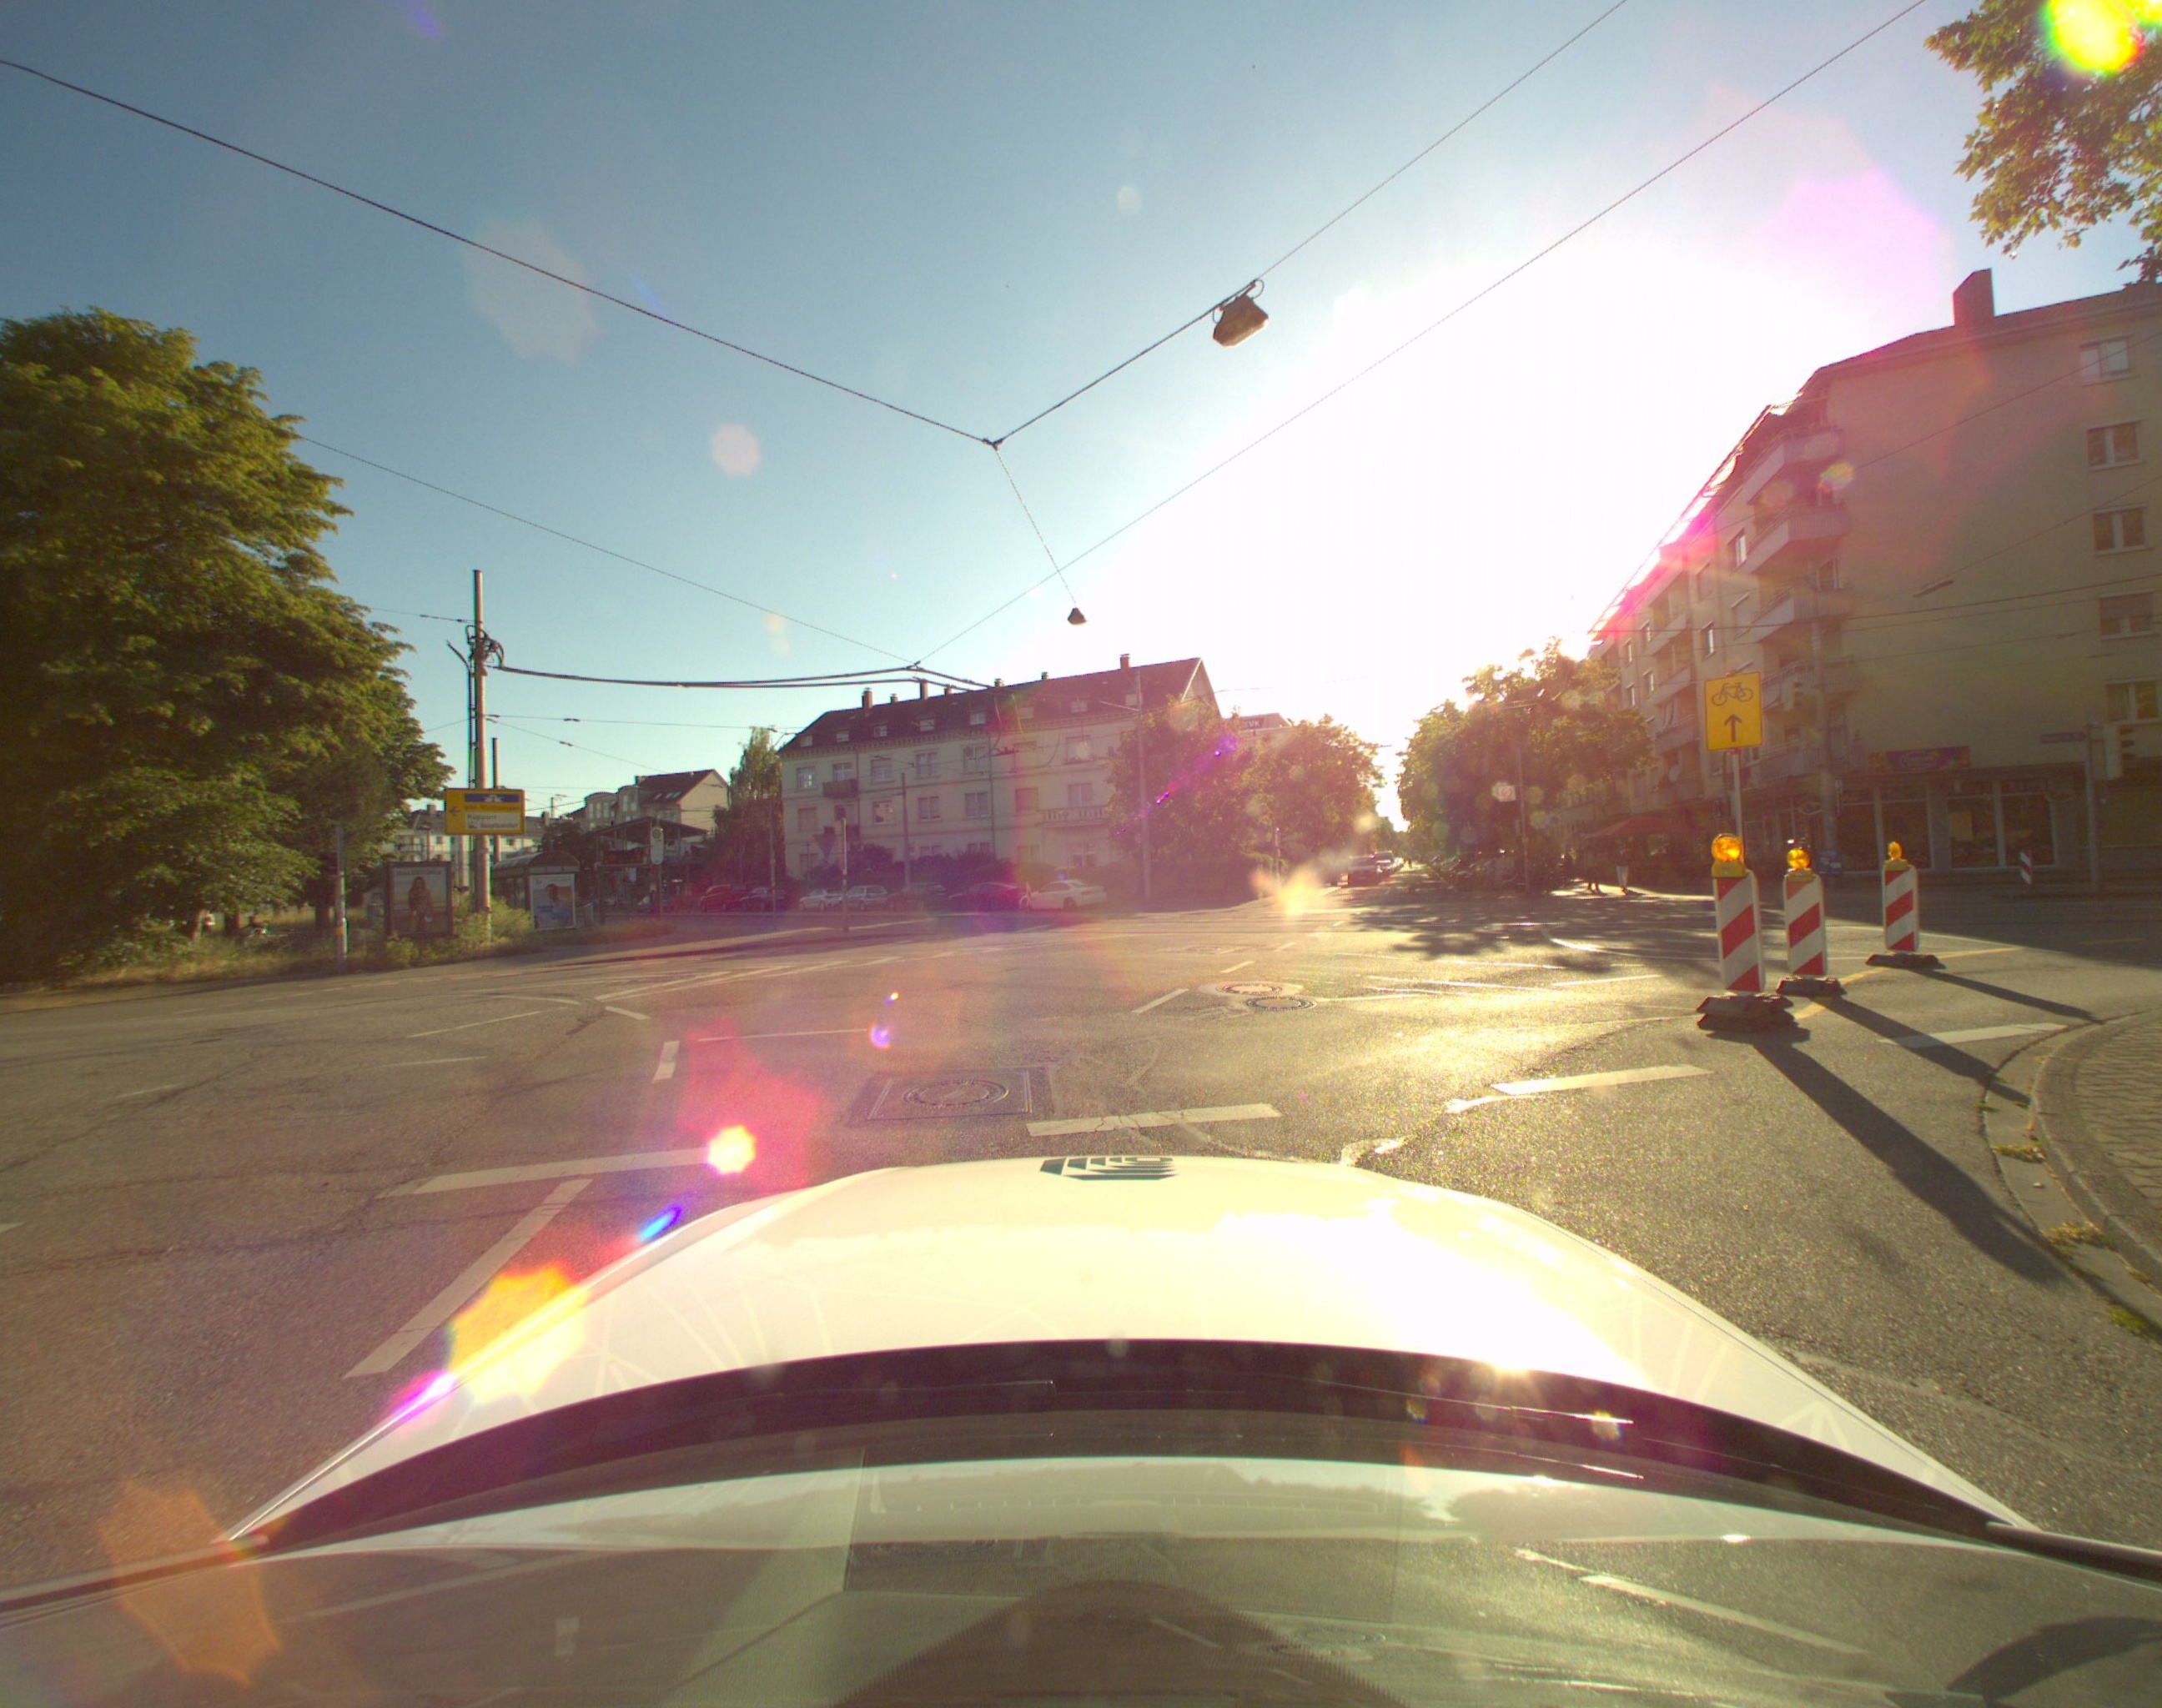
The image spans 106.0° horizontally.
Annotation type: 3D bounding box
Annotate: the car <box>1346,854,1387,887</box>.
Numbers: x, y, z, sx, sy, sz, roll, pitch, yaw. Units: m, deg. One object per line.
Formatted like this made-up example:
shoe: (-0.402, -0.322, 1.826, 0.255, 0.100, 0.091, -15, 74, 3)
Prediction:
car: (19.082, 1.073, 54.495, 2.335, 2.014, 5.335, -3, -2, 19)

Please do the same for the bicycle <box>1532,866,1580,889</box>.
bicycle: (20.651, 1.019, 35.430, 1.708, 0.932, 0.565, -3, -2, 21)

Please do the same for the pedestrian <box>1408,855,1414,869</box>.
pedestrian: (48.276, 1.215, 119.029, 0.730, 2.014, 0.747, -4, -2, 23)

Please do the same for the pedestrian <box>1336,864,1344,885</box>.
pedestrian: (21.113, 1.688, 66.414, 0.574, 1.731, 0.611, -3, -2, 16)

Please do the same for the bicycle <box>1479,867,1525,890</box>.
bicycle: (18.577, 1.103, 35.972, 1.708, 0.932, 0.676, -3, -2, 21)

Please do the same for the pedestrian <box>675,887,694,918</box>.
pedestrian: (-26.110, 3.205, 53.624, 0.929, 2.014, 0.759, -1, -3, -43)

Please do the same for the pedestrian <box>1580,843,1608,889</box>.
pedestrian: (19.730, 0.454, 31.307, 0.684, 1.750, 0.800, -4, -2, 43)

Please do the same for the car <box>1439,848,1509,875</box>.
car: (33.277, 0.666, 69.148, 5.048, 1.924, 2.373, -3, -4, 19)

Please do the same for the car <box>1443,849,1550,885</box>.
car: (25.684, 0.852, 50.639, 5.574, 1.924, 2.373, -3, -4, 19)

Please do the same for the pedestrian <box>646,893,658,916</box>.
pedestrian: (-28.658, 3.384, 54.367, 0.570, 1.501, 0.671, -1, -2, -36)

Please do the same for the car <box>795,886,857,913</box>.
car: (-15.968, 2.851, 50.924, 3.908, 1.447, 1.857, -4, 0, 42)

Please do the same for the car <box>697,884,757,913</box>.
car: (-26.296, 3.318, 60.412, 5.085, 1.961, 2.070, -4, 0, 42)

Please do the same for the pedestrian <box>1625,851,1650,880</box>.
pedestrian: (26.694, 0.554, 39.052, 0.804, 1.362, 0.919, -4, -2, 27)

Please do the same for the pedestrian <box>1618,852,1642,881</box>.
pedestrian: (27.179, 0.610, 40.297, 0.804, 1.362, 0.919, -4, -2, 27)

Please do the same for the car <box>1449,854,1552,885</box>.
car: (24.707, 0.926, 48.223, 5.048, 1.557, 2.373, -3, -3, 19)

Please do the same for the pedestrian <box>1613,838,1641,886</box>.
pedestrian: (20.628, 0.292, 30.767, 0.684, 1.750, 0.845, -3, -2, 27)

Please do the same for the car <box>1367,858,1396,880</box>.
car: (27.367, 1.354, 74.271, 2.335, 1.795, 5.335, -3, -2, 19)

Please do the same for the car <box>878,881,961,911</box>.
car: (-8.987, 2.362, 45.136, 4.645, 1.447, 2.000, -4, 0, 42)

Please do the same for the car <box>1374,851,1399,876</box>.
car: (33.330, 1.071, 89.081, 2.335, 2.515, 5.335, -3, -2, 19)

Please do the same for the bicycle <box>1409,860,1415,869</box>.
bicycle: (48.326, 1.568, 119.020, 0.759, 1.324, 1.934, -3, -2, 22)

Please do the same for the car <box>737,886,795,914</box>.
car: (-21.707, 3.170, 55.984, 4.314, 1.668, 1.857, -4, 0, 42)

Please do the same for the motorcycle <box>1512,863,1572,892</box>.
motorcycle: (19.013, 0.969, 33.628, 1.936, 1.109, 0.841, -3, -2, 16)

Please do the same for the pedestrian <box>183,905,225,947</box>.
pedestrian: (-32.503, 2.651, 30.178, 0.842, 1.492, 0.672, -3, -2, 8)

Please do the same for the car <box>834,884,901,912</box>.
car: (-12.573, 2.595, 47.892, 3.671, 1.447, 2.000, -4, 0, 42)

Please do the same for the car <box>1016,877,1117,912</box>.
car: (-0.707, 1.875, 37.750, 4.439, 1.376, 1.943, -4, 0, 40)

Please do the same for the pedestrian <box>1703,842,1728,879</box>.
pedestrian: (27.670, 0.300, 35.527, 0.614, 1.592, 0.479, -3, -2, 5)

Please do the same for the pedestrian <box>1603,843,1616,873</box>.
pedestrian: (35.240, 0.268, 54.305, 0.532, 2.014, 0.513, -3, -2, 14)

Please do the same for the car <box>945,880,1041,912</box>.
car: (-4.485, 2.132, 41.235, 4.644, 1.376, 2.000, -4, 0, 37)

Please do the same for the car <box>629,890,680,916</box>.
car: (-36.679, 4.244, 69.979, 5.085, 1.961, 2.070, -4, 0, 42)

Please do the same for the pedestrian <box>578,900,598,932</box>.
pedestrian: (-22.551, 2.829, 37.227, 0.499, 1.427, 0.601, -4, -2, 34)

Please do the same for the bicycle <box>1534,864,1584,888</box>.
bicycle: (20.365, 0.942, 34.714, 1.708, 0.932, 0.565, -3, -2, 21)
